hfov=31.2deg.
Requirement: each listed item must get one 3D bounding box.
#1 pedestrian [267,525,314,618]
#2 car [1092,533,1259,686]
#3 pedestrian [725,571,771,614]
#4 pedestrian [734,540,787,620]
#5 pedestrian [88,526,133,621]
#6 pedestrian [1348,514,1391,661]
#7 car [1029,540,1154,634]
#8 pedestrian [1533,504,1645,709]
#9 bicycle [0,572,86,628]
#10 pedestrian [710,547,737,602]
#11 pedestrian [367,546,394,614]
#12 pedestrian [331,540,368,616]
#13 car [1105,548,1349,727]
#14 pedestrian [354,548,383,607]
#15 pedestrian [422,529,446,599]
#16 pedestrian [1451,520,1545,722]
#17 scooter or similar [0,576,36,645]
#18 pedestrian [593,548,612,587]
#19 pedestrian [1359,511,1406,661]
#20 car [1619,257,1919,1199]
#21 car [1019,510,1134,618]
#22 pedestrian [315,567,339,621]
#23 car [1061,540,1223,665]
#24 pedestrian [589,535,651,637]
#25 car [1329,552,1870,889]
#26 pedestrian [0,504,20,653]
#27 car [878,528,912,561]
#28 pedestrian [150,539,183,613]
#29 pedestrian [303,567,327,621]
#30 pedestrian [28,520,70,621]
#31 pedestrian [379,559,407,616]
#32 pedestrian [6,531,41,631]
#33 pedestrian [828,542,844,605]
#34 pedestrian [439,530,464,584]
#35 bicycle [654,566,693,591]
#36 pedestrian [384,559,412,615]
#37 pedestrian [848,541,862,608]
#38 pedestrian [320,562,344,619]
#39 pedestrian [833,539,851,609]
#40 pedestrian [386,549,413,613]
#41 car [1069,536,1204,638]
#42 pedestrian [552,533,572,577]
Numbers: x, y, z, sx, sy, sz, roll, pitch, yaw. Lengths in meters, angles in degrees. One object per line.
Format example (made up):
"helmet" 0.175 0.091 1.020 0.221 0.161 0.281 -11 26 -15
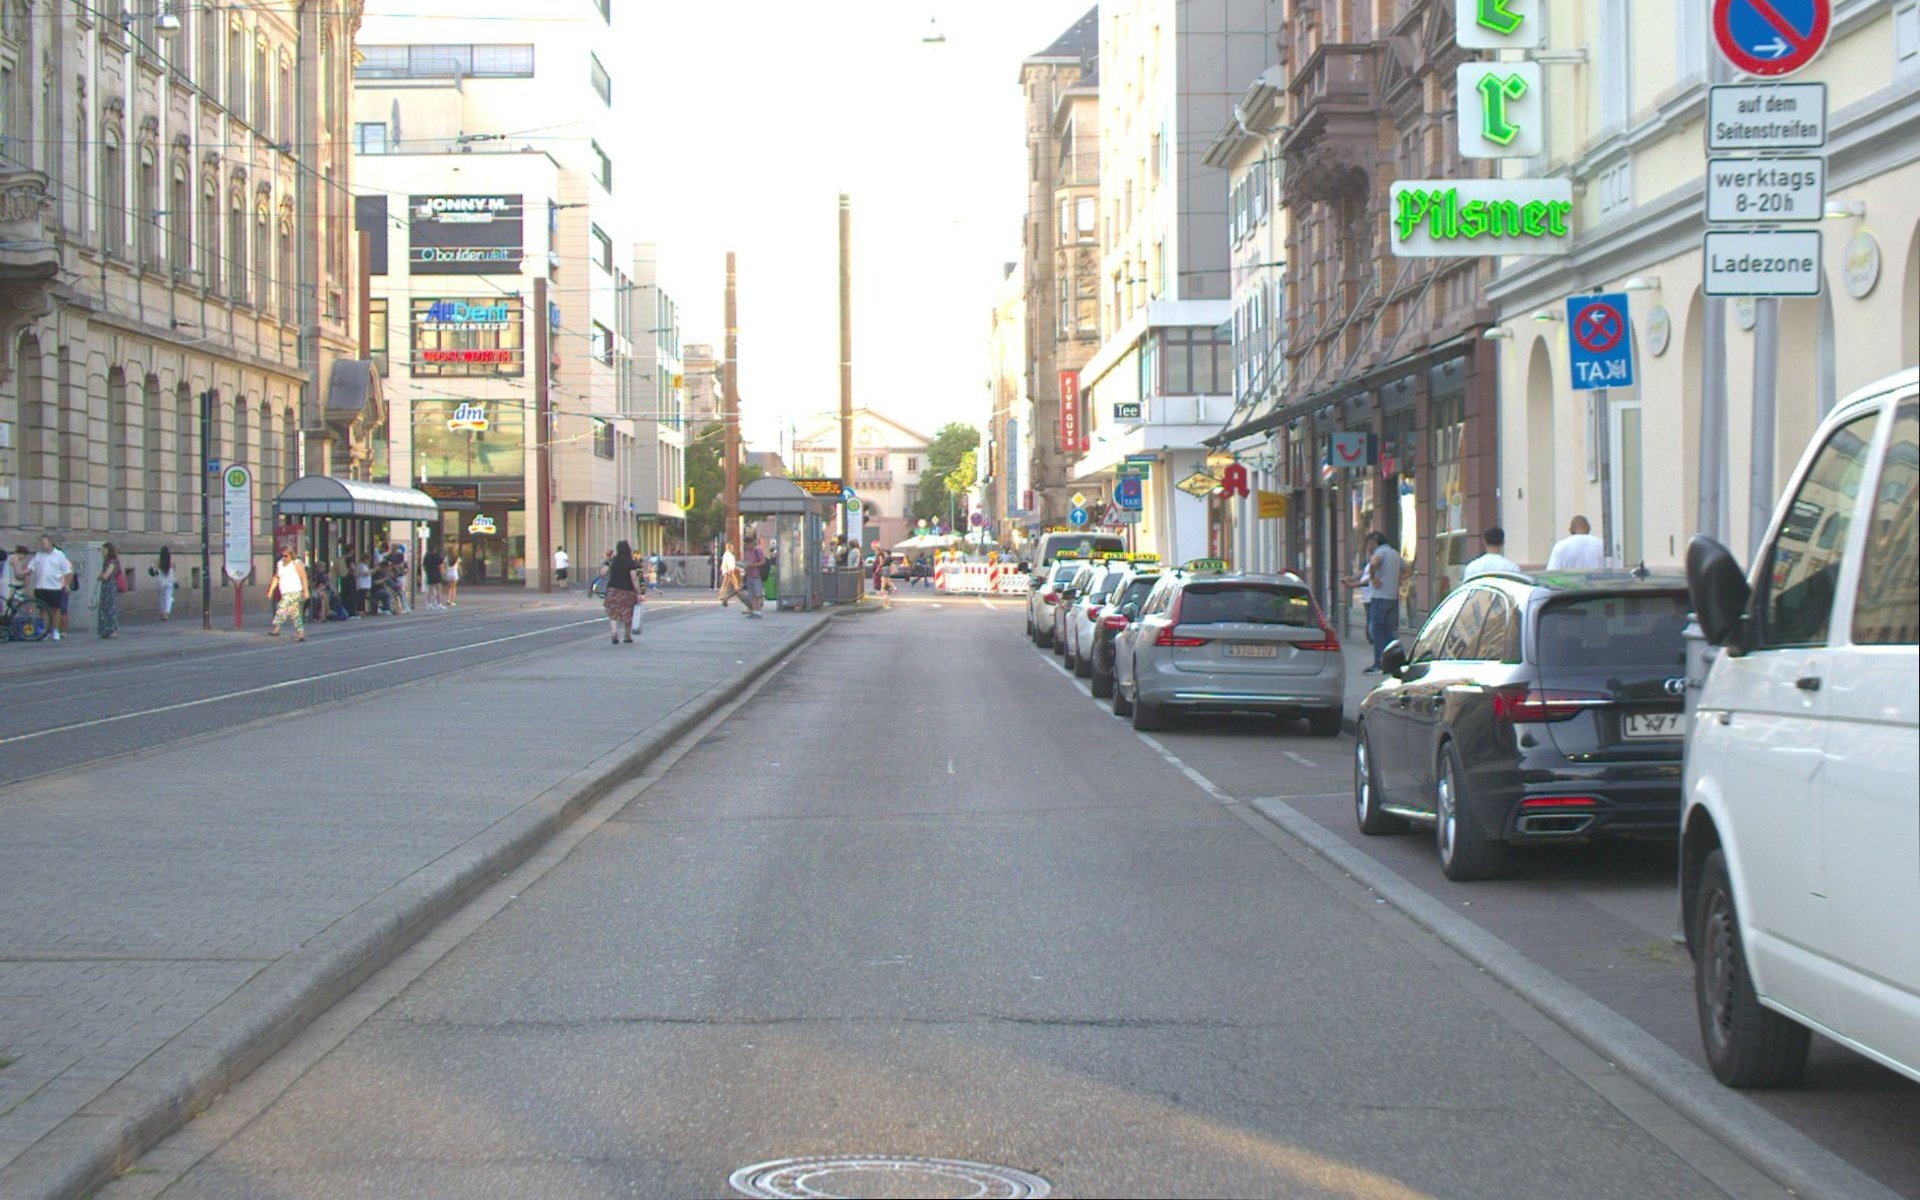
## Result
"pedestrian" -11.264 -0.477 57.836 0.659 1.556 0.680 0 1 -1
"car" 2.405 0.102 39.204 1.733 1.585 4.441 2 0 2
"pedestrian" -4.669 -0.175 75.781 0.799 0.936 0.692 0 1 22
"pedestrian" -4.098 -0.417 70.740 0.687 1.632 0.859 1 1 40
"pedestrian" -14.422 -0.446 58.395 0.570 1.600 0.440 1 0 16
"pedestrian" 4.958 -0.154 41.597 0.372 1.762 0.456 -2 1 -4
"car" 2.212 -0.256 58.890 1.806 1.478 4.778 2 1 -1
"pedestrian" 5.377 0.052 29.372 0.760 1.683 0.551 -4 1 17
"bicycle" -15.057 -0.002 55.887 1.576 0.871 0.451 1 0 4
"pedestrian" -7.758 -0.842 112.932 0.699 1.809 0.852 1 0 8
"pedestrian" -14.162 -0.487 84.013 0.518 1.640 0.638 0 0 3
"pedestrian" -13.323 -0.482 75.027 0.518 1.645 0.637 0 0 21
"car" 2.419 0.290 32.254 1.806 1.470 4.694 1 1 -1
"pedestrian" -13.315 -0.512 77.360 0.518 1.323 0.638 0 0 3
"pedestrian" -13.441 -0.916 87.865 0.559 1.770 0.469 0 1 -5
"pedestrian" 4.641 0.176 29.639 0.619 1.683 0.485 -4 1 16
"scooter or similar" -15.334 0.153 53.895 1.547 1.064 0.451 1 0 4
"pedestrian" -15.037 -1.367 144.576 0.649 1.668 0.530 0 0 8
"pedestrian" 5.051 -0.168 41.088 0.372 1.762 0.663 -2 1 -4
"car" 2.935 0.301 7.683 1.852 2.060 5.216 -1 0 -1
"car" 2.182 -0.672 65.402 1.876 1.917 4.700 2 0 -1
"pedestrian" -13.097 -0.130 71.156 0.364 1.099 0.429 1 0 5
"car" 2.345 0.024 45.285 1.732 1.506 4.865 2 0 -1
"pedestrian" -5.033 -0.210 50.944 0.846 1.496 0.901 0 1 -1
"car" 2.954 0.500 16.837 1.696 1.385 4.548 -1 0 -1
"pedestrian" -11.944 -0.268 42.020 0.692 1.806 0.815 0 1 -1
"car" -3.893 -3.307 206.371 1.993 1.897 4.000 1 0 -1
"pedestrian" -16.830 -0.509 72.868 0.659 1.556 0.680 0 1 -15
"pedestrian" -13.245 -0.131 70.569 0.364 1.099 0.429 1 0 5
"pedestrian" -14.958 -0.481 56.461 0.476 1.636 0.562 1 0 5
"pedestrian" -13.207 -0.297 80.087 0.518 1.323 0.638 0 0 3
"pedestrian" -15.403 -0.310 56.534 0.335 1.636 0.606 1 0 6
"pedestrian" -3.269 -0.693 90.296 0.385 1.636 0.549 1 0 -3
"pedestrian" -14.330 -1.223 96.903 0.525 1.520 0.502 0 1 -30
"bicycle" -12.772 -0.963 153.345 1.696 1.118 0.451 1 0 2
"pedestrian" -13.220 -0.300 80.855 0.518 1.323 0.638 0 0 3
"pedestrian" -2.850 -0.695 93.120 0.341 1.789 0.544 1 0 -3
"pedestrian" -13.152 -0.203 72.001 0.364 1.196 0.429 1 0 5
"pedestrian" -3.000 -0.665 87.287 0.412 1.761 0.594 1 0 -3
"pedestrian" -13.826 -0.467 84.782 0.518 1.564 0.638 0 0 3
"car" 2.699 -0.201 53.401 1.726 1.472 4.821 1 0 -1
"pedestrian" -16.880 -1.915 145.889 0.573 1.848 0.816 1 0 11
